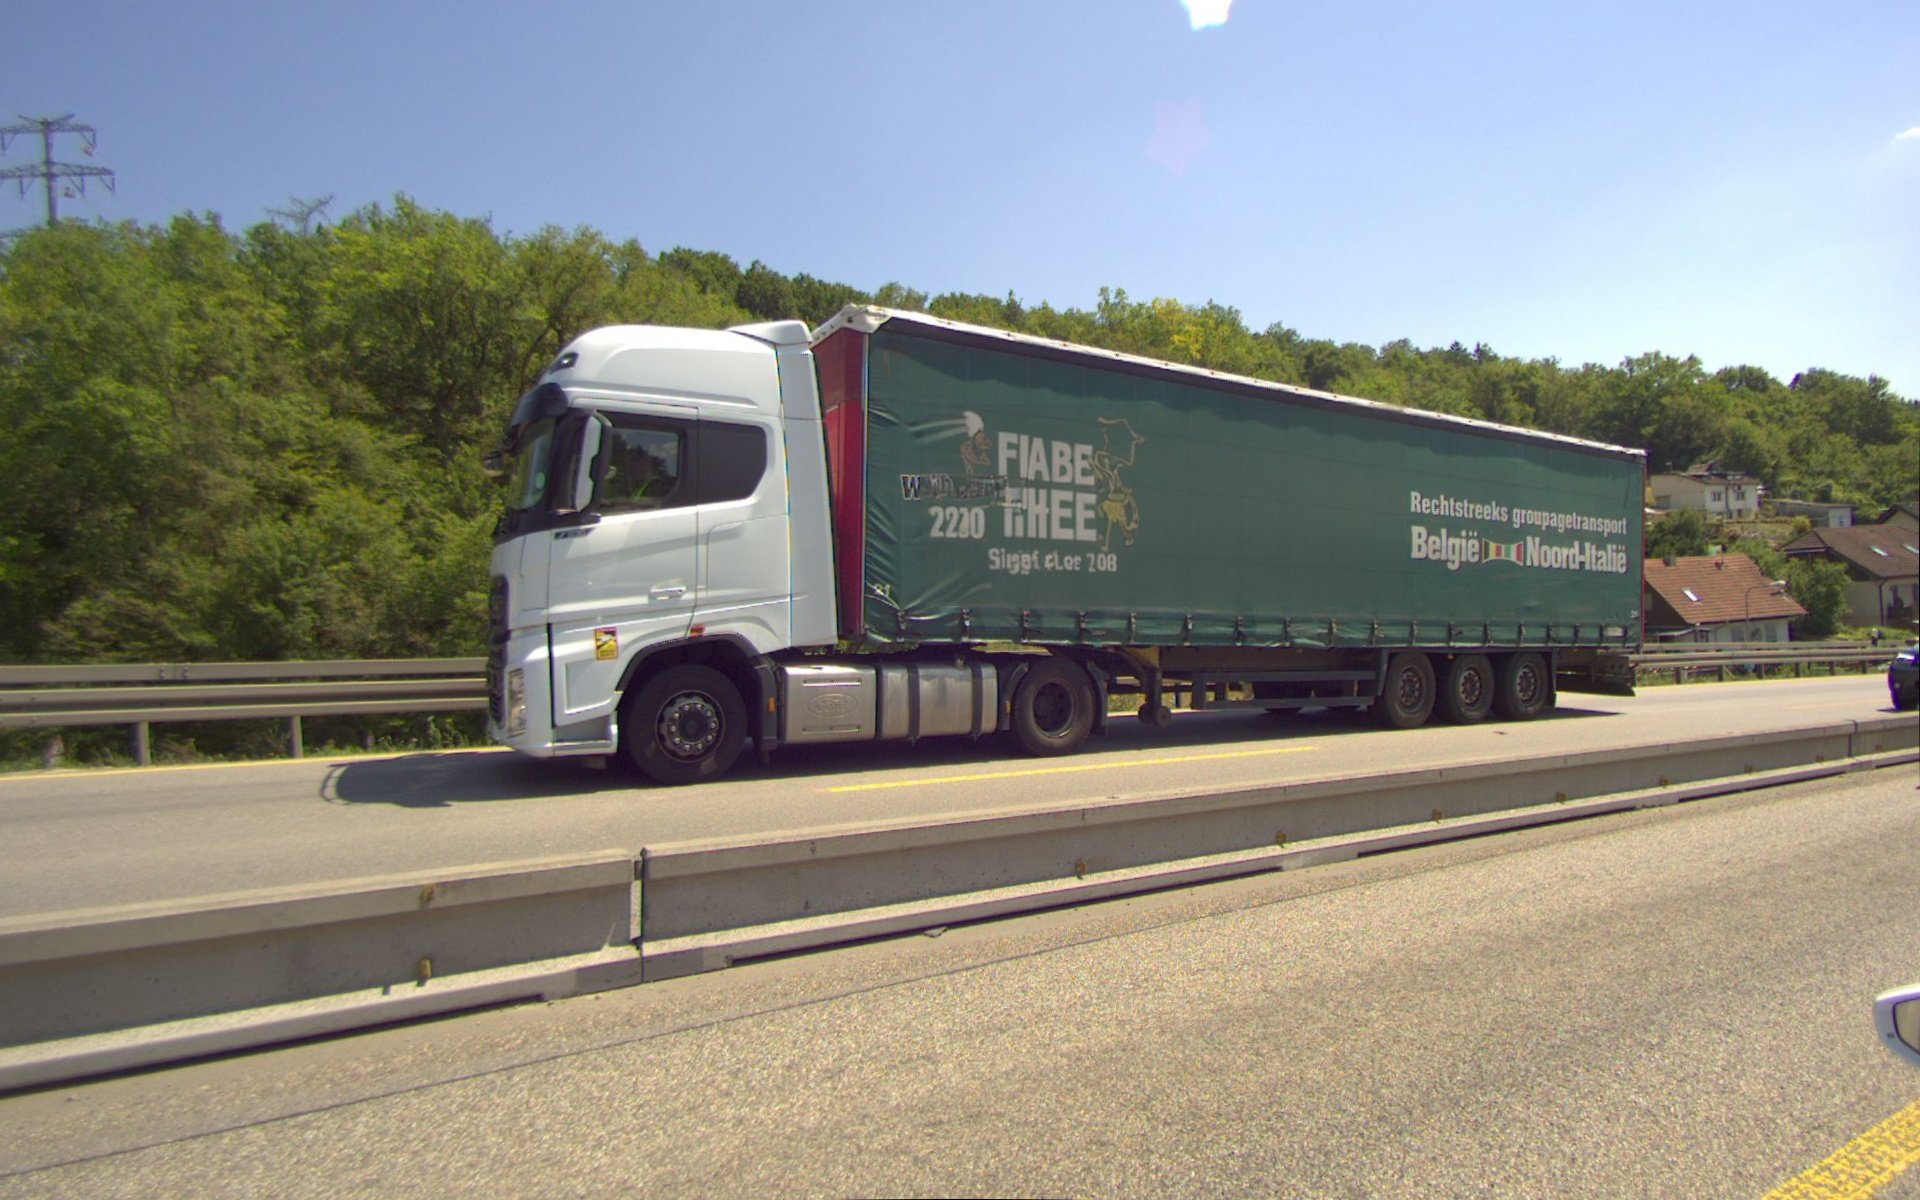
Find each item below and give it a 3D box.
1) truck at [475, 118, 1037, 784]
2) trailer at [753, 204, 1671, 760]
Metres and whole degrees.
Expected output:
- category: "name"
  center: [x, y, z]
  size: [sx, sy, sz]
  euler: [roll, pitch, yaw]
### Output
- category: "truck"
  center: [-2.036, -1.028, 9.846]
  size: [4.591, 4.885, 3.046]
  euler: [2, -1, -30]
- category: "trailer"
  center: [4.409, -0.825, 13.627]
  size: [13.837, 4.879, 3.050]
  euler: [2, -1, -30]
